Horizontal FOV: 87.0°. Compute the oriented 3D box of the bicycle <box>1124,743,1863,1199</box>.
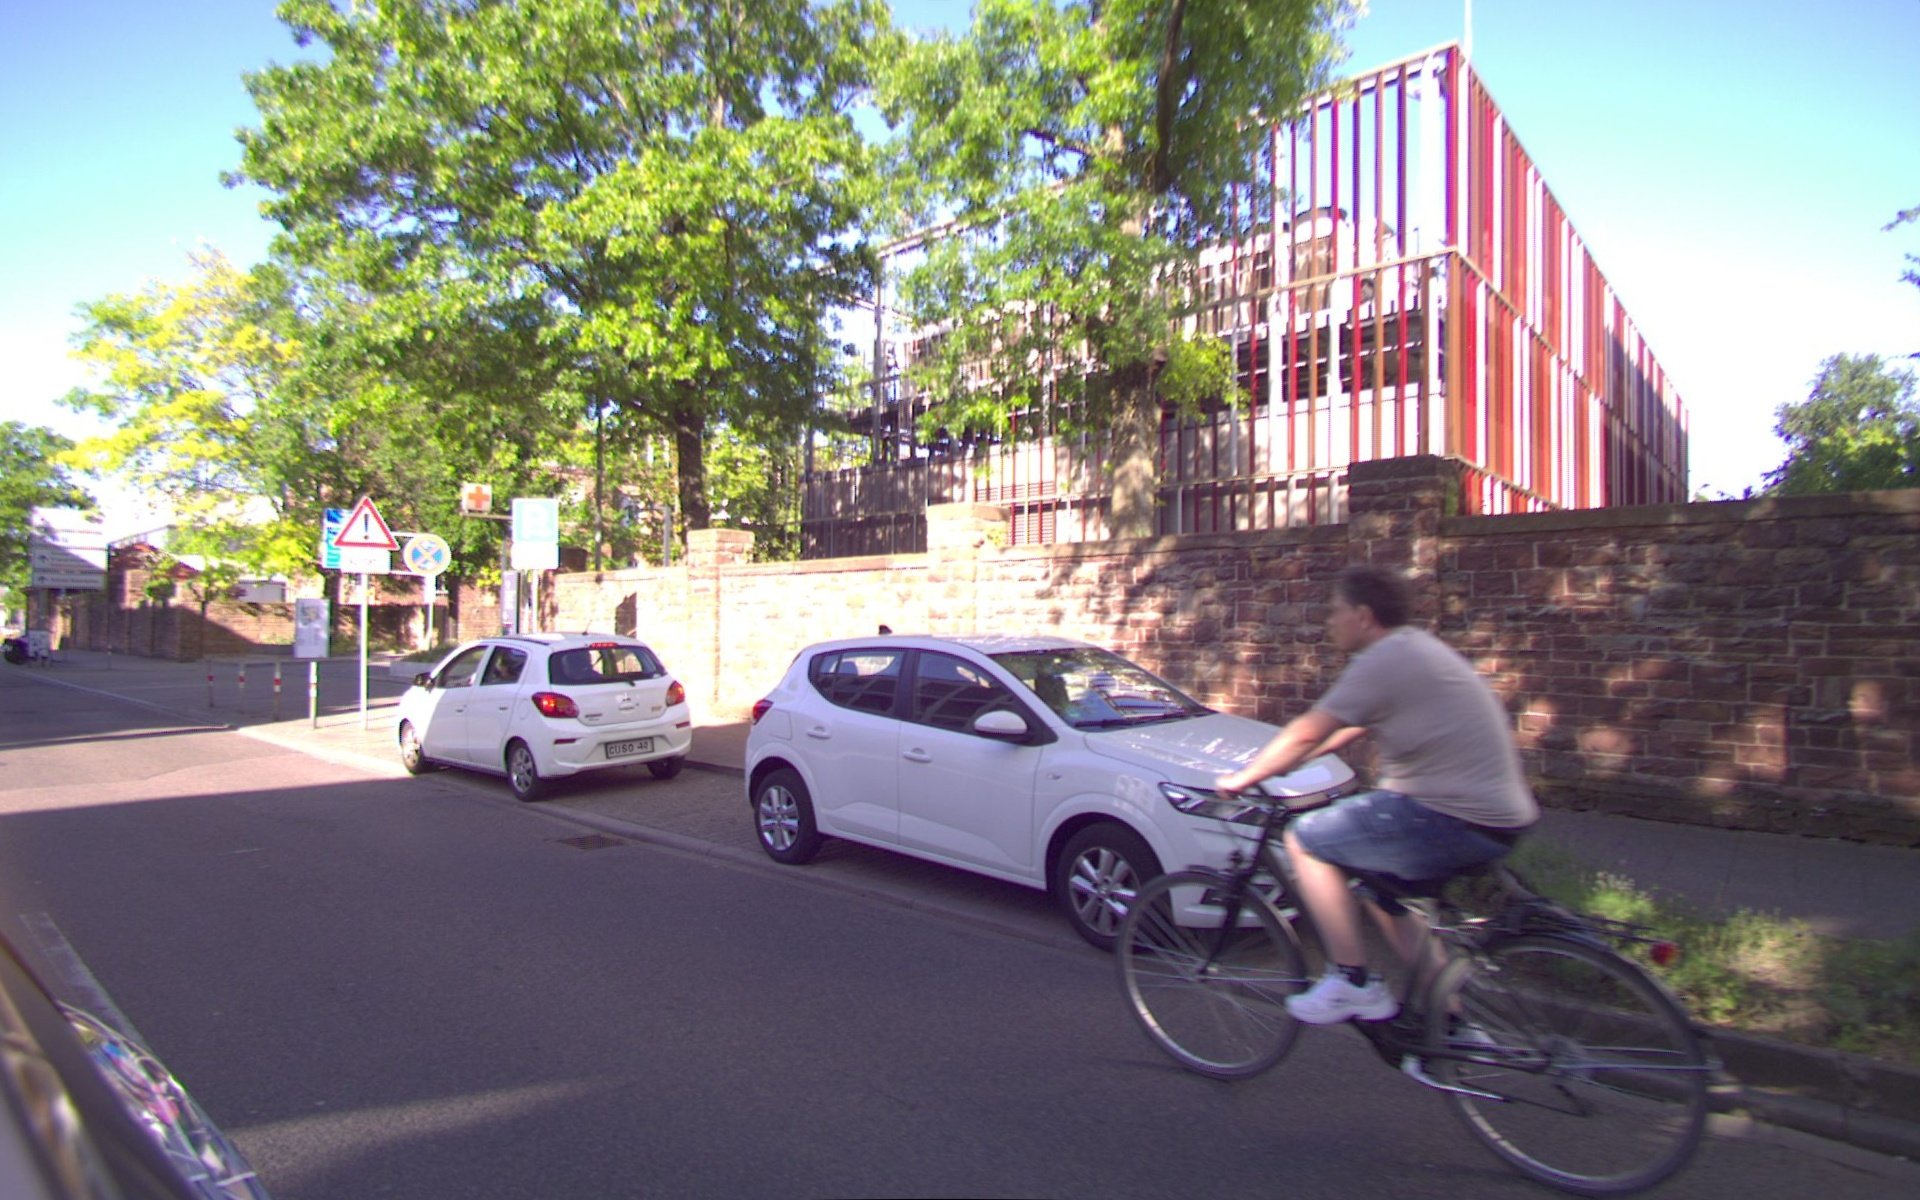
[{"bbox_3d":[1.372,1.074,2.951,1.865,1.129,0.353,-1,-1,43],"label":"bicycle"}]

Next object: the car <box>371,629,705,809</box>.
[{"bbox_3d":[-4.368,1.042,10.233,3.748,1.412,1.558,-2,1,40],"label":"car"}]

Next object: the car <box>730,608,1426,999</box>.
[{"bbox_3d":[0.464,0.865,6.016,3.849,1.522,1.658,-2,0,43],"label":"car"}]

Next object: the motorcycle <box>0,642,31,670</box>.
[{"bbox_3d":[-37.510,2.198,39.843,0.523,1.047,2.097,-1,-1,-18],"label":"motorcycle"}]

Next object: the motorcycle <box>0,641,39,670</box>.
[{"bbox_3d":[-36.414,2.144,39.002,0.523,1.047,2.097,-1,-1,-18],"label":"motorcycle"}]

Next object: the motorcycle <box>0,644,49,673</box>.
[{"bbox_3d":[-34.273,2.122,36.938,0.591,1.040,2.133,0,-2,-15],"label":"motorcycle"}]

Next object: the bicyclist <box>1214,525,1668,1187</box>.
[{"bbox_3d":[1.383,0.598,2.960,1.005,1.534,0.712,-1,-1,44],"label":"bicyclist"}]
